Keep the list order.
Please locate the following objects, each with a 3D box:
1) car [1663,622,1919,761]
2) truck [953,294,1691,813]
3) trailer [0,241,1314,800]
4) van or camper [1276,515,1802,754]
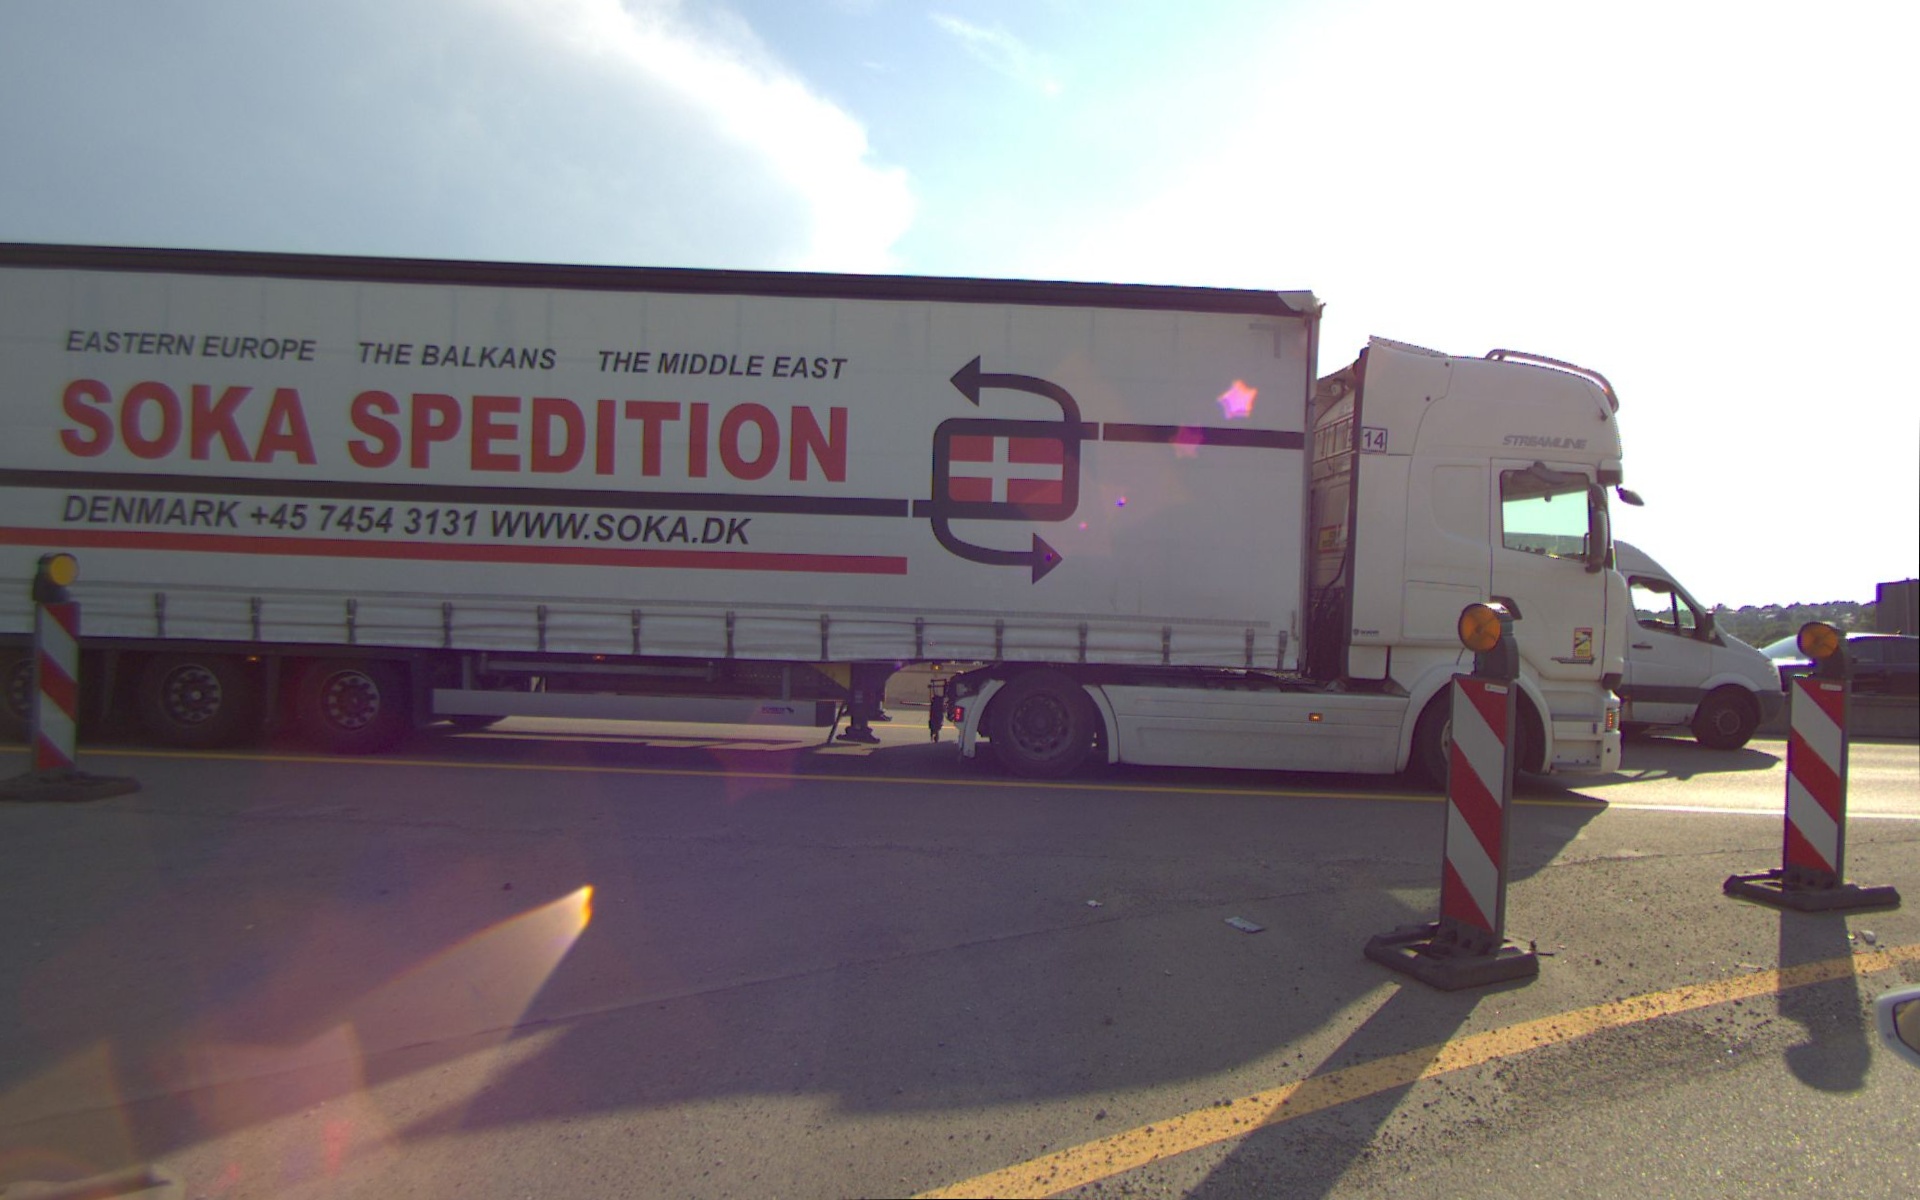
[{"bbox_3d":[14.530,1.481,16.581,4.445,2.007,1.895,2,0,0],"label":"car"},{"bbox_3d":[2.975,-0.343,9.419,5.894,3.929,2.488,3,-1,-1],"label":"truck"},{"bbox_3d":[-3.900,-0.652,9.245,13.365,3.929,2.488,3,-1,-1],"label":"trailer"},{"bbox_3d":[7.431,0.449,13.296,5.789,2.654,2.000,3,-1,-2],"label":"van or camper"}]
